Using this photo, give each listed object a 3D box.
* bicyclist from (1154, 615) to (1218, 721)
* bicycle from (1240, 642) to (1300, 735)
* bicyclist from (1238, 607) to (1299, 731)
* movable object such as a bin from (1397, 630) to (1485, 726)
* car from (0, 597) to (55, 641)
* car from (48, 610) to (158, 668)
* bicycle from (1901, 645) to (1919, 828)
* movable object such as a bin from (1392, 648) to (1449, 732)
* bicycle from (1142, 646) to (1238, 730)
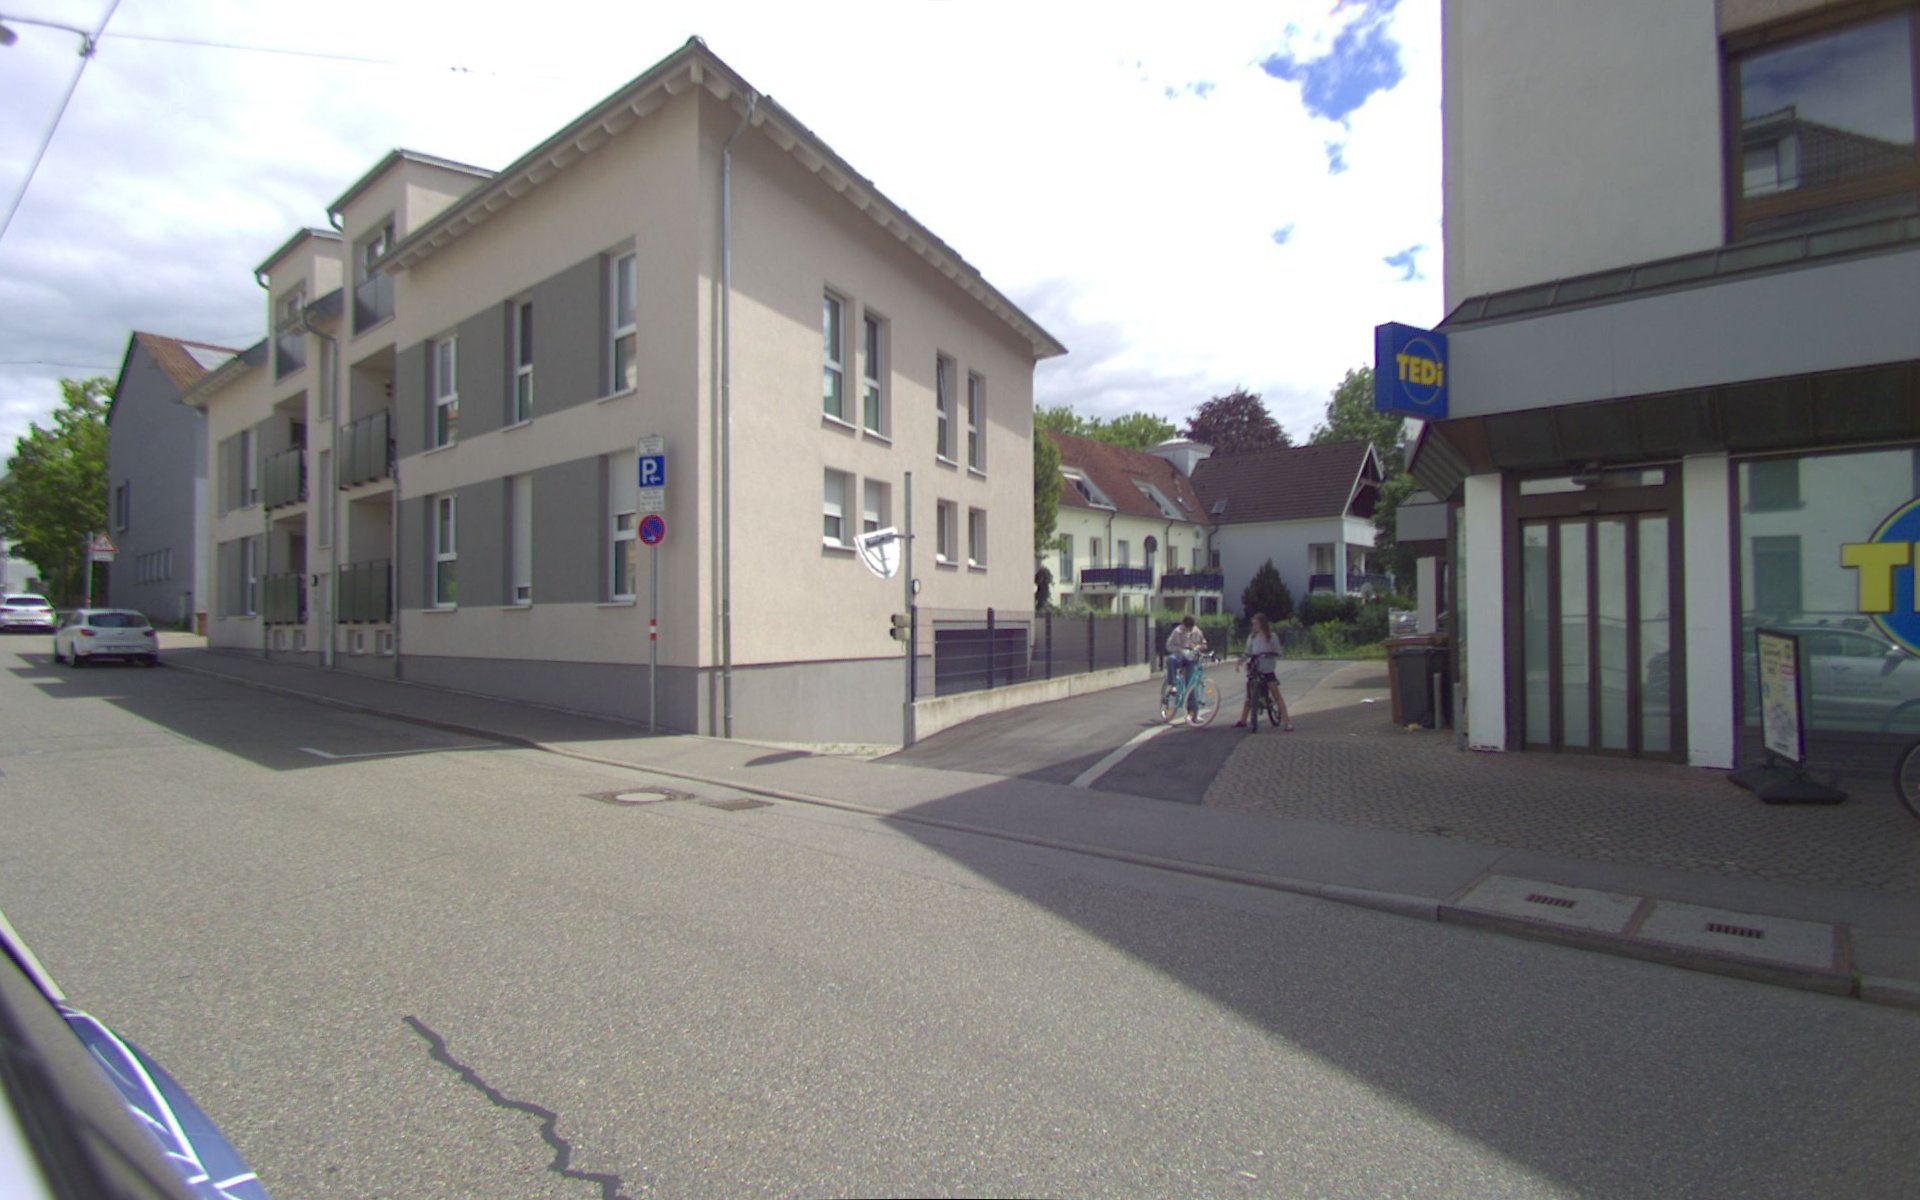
[{"bbox_3d":[2.755,0.817,12.378,0.631,1.251,0.428,0,-1,-16],"label":"bicyclist"},{"bbox_3d":[3.545,0.981,11.671,0.550,0.961,1.683,-2,-2,14],"label":"bicycle"},{"bbox_3d":[3.533,0.790,11.636,0.583,1.376,0.423,-3,-3,15],"label":"bicyclist"},{"bbox_3d":[5.696,0.917,11.991,0.737,1.073,0.677,-5,-3,41],"label":"movable object such as a bin"},{"bbox_3d":[-35.102,0.688,37.610,4.066,1.499,1.714,2,-1,42],"label":"car"},{"bbox_3d":[-21.733,0.957,25.629,3.473,1.340,1.643,0,-2,42],"label":"car"},{"bbox_3d":[6.452,0.815,5.644,1.733,1.058,0.439,-1,2,41],"label":"bicycle"},{"bbox_3d":[5.247,1.021,11.531,0.443,0.918,0.403,-4,-3,41],"label":"movable object such as a bin"},{"bbox_3d":[2.763,1.034,12.299,0.451,0.924,1.593,-1,-2,-13],"label":"bicycle"}]
